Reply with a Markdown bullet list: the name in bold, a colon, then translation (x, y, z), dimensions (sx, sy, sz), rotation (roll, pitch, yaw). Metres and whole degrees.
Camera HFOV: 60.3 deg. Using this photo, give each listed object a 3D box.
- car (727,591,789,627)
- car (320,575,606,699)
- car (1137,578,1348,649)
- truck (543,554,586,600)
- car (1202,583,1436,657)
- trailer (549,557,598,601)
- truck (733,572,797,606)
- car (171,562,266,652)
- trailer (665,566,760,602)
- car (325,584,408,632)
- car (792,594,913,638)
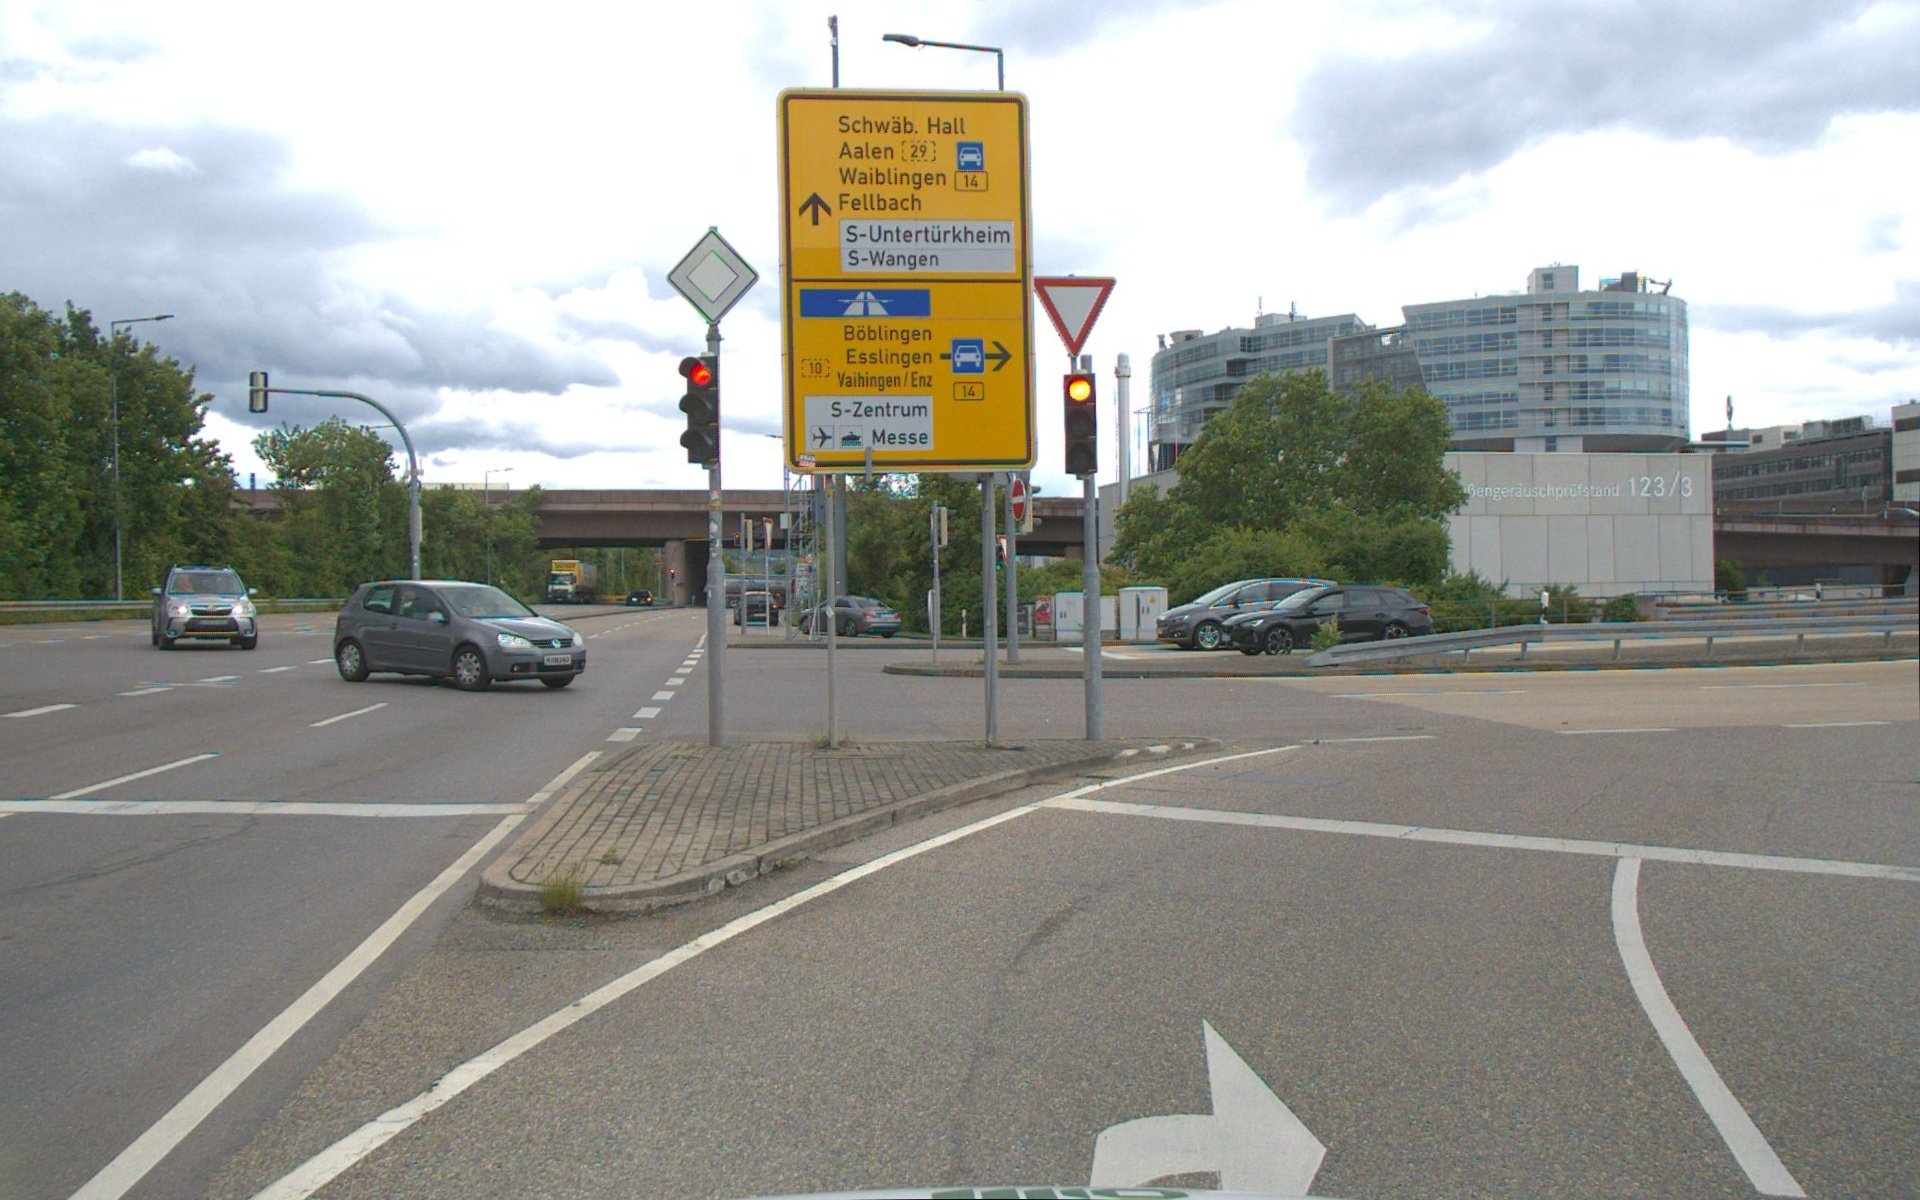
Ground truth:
- **car**: translation (-8.797, 0.414, 71.756), dimensions (1.962, 1.490, 4.089), rotation (1, -2, -18)
- **car**: translation (-7.123, 0.457, 23.562), dimensions (4.159, 1.487, 1.723), rotation (3, 2, 36)
- **car**: translation (6.700, 0.293, 39.405), dimensions (4.592, 1.599, 1.952), rotation (0, 1, -10)
- **truck**: translation (-38.003, -2.226, 159.186), dimensions (2.815, 4.155, 6.483), rotation (2, 1, -4)
- **car**: translation (7.663, 0.398, 35.473), dimensions (4.523, 1.482, 1.951), rotation (0, 1, -12)
- **trailer**: translation (-38.302, -2.083, 164.335), dimensions (2.815, 4.155, 11.419), rotation (2, 1, -4)
- **truck**: translation (-17.868, -1.021, 151.580), dimensions (5.651, 2.669, 2.617), rotation (4, 0, -7)
- **car**: translation (-15.682, 0.109, 34.917), dimensions (1.703, 1.767, 4.519), rotation (-1, 1, -25)
- **trailer**: translation (-22.583, -1.449, 151.021), dimensions (8.382, 2.669, 2.605), rotation (4, 0, -8)
- **car**: translation (-18.744, 0.215, 52.385), dimensions (1.692, 1.425, 4.058), rotation (-1, 1, -9)
- **car**: translation (-3.769, 0.574, 57.634), dimensions (4.039, 1.467, 1.987), rotation (-1, -2, 43)
